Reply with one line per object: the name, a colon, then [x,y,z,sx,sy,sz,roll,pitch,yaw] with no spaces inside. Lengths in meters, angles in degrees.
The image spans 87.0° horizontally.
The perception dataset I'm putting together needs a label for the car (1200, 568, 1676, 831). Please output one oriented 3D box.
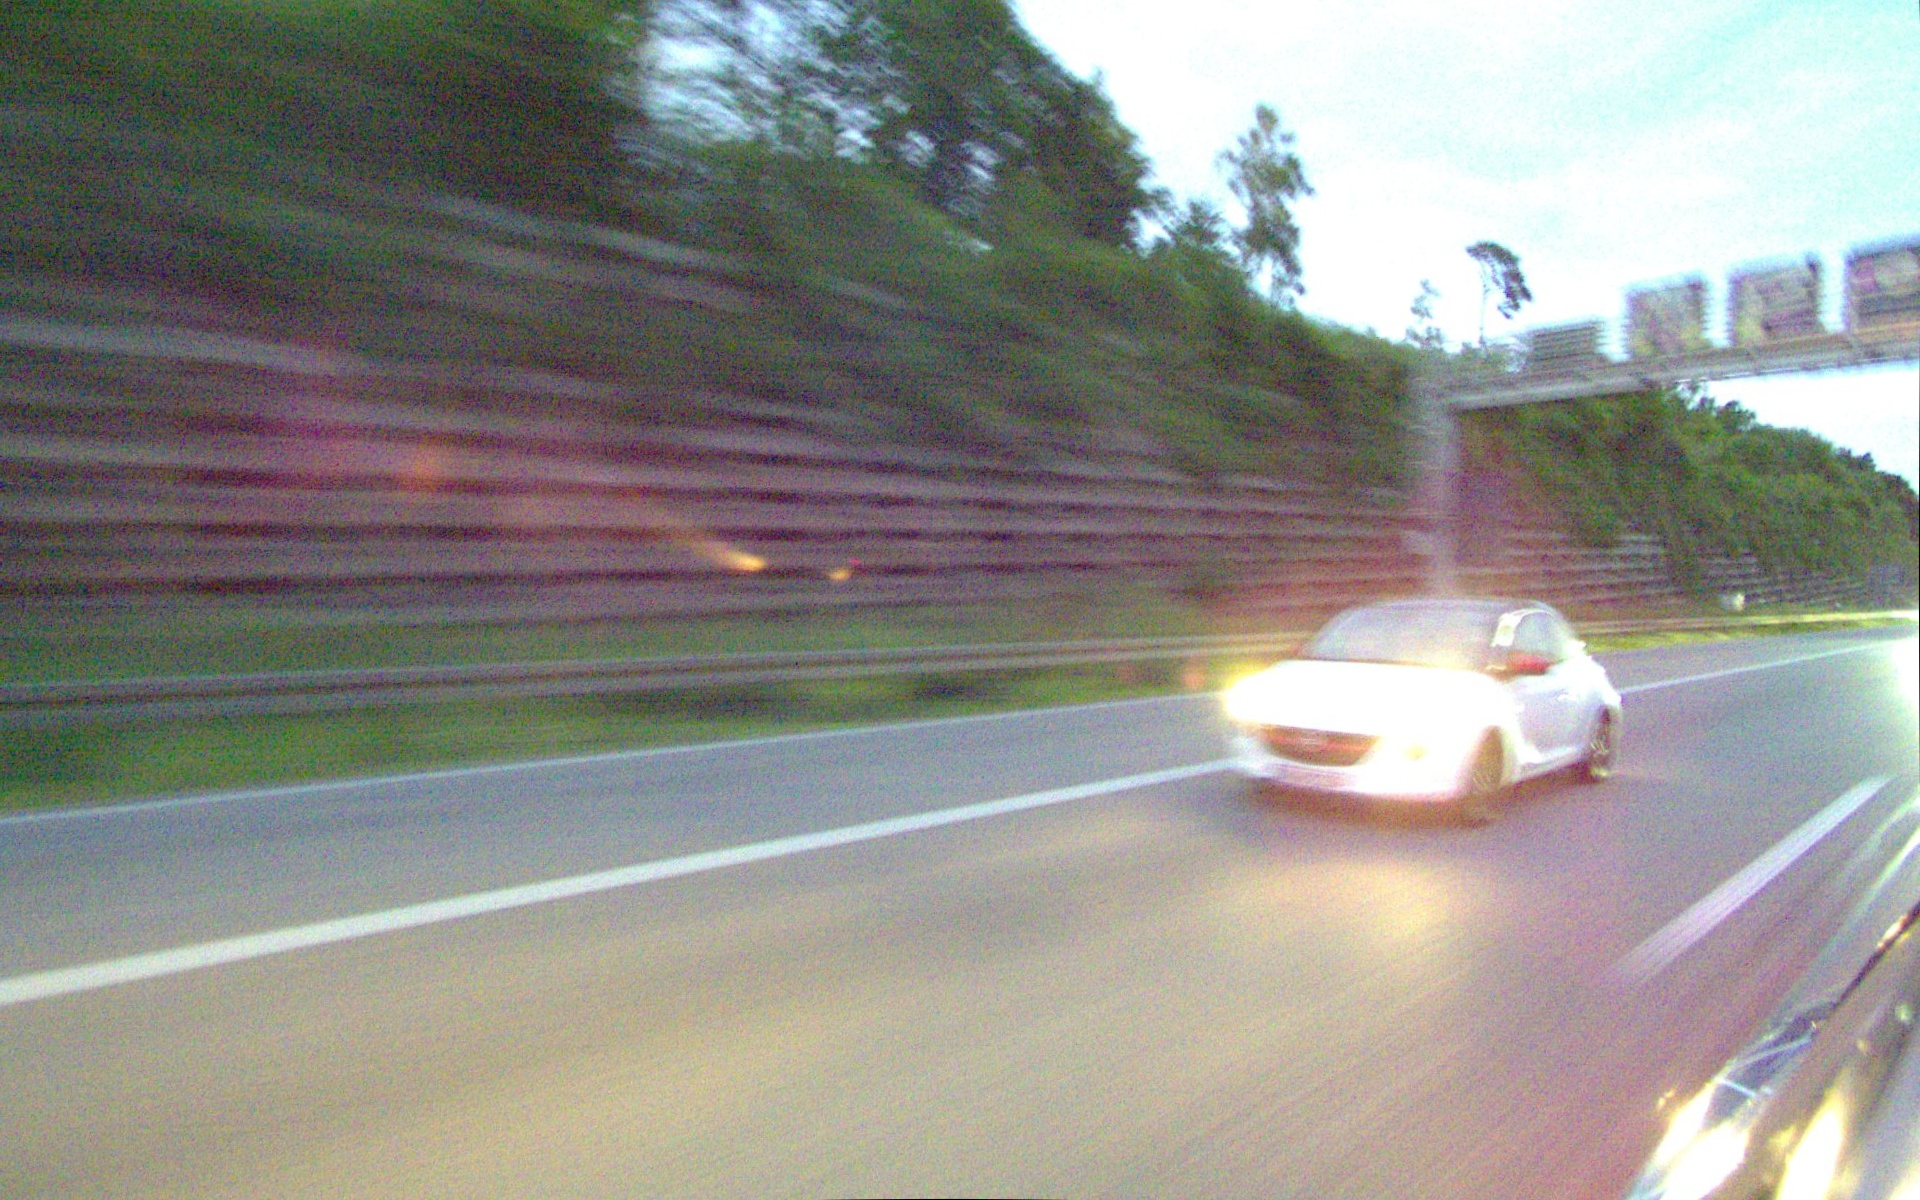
car: [3.968,0.564,8.045,4.322,1.494,1.829,0,2,-41]
